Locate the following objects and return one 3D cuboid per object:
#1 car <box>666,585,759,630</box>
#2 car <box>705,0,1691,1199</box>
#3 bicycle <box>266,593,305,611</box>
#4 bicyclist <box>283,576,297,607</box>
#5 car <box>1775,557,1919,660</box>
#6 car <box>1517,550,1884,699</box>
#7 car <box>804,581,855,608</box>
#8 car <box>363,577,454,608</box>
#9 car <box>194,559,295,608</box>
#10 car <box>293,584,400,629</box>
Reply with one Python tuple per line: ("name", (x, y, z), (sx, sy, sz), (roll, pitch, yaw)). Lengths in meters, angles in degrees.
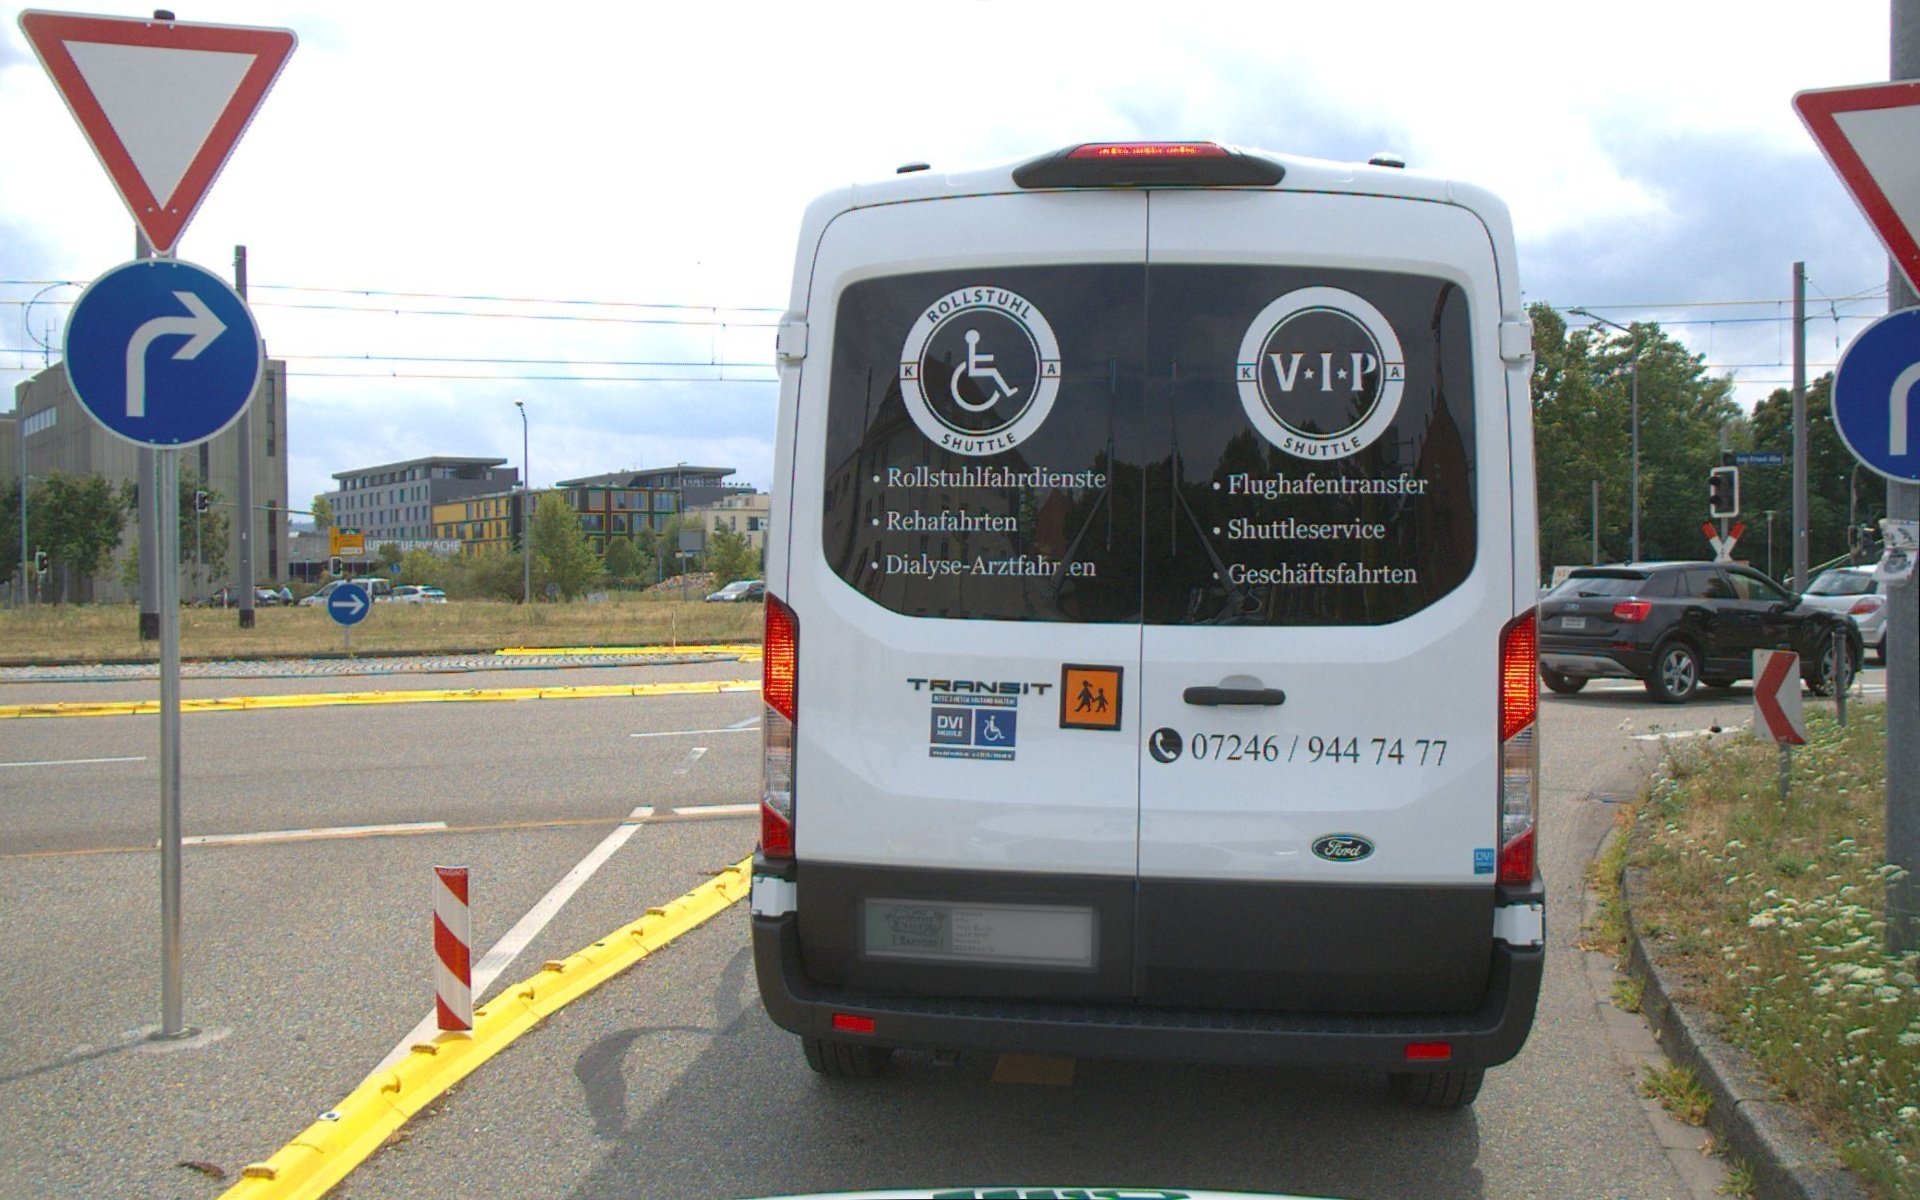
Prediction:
("car", (-11.609, 0.354, 77.768), (3.968, 2.049, 1.968), (1, -1, -44))
("car", (0.781, 0.004, 6.356), (2.081, 2.744, 5.636), (0, 1, 6))
("bicycle", (-34.605, 0.112, 84.844), (1.803, 0.892, 0.527), (-1, 1, -22))
("bicyclist", (-34.401, -0.424, 84.912), (0.639, 1.585, 0.527), (-1, 1, -21))
("car", (14.862, 0.087, 25.279), (4.174, 1.488, 1.824), (-1, 1, -14))
("car", (8.531, 0.221, 19.011), (4.085, 1.545, 1.726), (-1, 1, -28))
("car", (-7.346, -0.296, 93.700), (1.788, 1.489, 4.003), (0, 0, 12))
("car", (-26.695, -0.360, 80.021), (3.904, 1.489, 1.833), (0, -1, 21))
("car", (-31.049, -0.688, 71.771), (3.909, 2.049, 1.998), (0, -1, 27))
("car", (-28.233, 0.285, 76.204), (4.255, 2.049, 2.001), (0, -1, 16))
